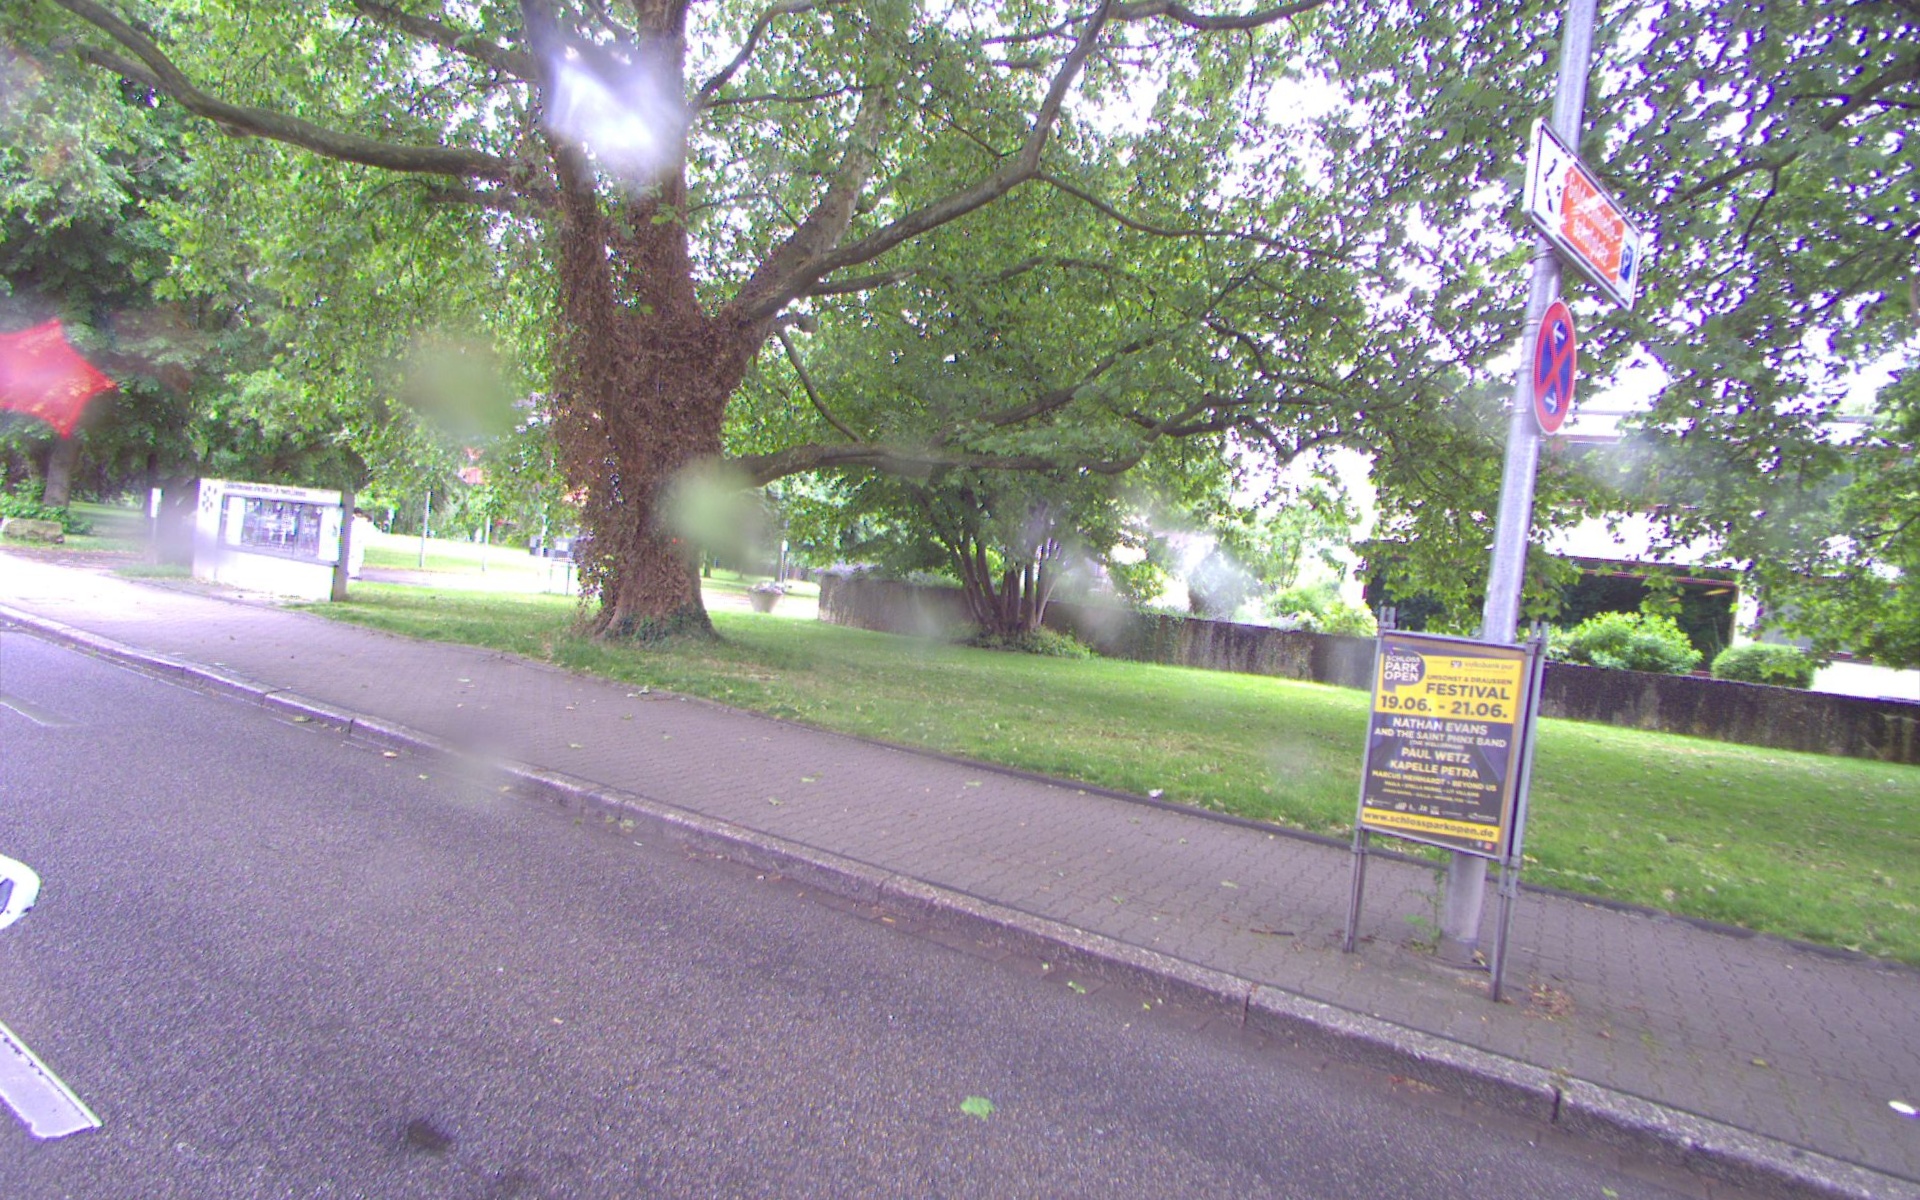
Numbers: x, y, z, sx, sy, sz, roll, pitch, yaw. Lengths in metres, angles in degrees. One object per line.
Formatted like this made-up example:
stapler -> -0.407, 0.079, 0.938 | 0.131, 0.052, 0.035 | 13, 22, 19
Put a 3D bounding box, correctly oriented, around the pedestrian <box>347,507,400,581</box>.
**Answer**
pedestrian -> -14.983, -1.428, 25.693 | 0.776, 1.732, 0.666 | 7, -1, 23
